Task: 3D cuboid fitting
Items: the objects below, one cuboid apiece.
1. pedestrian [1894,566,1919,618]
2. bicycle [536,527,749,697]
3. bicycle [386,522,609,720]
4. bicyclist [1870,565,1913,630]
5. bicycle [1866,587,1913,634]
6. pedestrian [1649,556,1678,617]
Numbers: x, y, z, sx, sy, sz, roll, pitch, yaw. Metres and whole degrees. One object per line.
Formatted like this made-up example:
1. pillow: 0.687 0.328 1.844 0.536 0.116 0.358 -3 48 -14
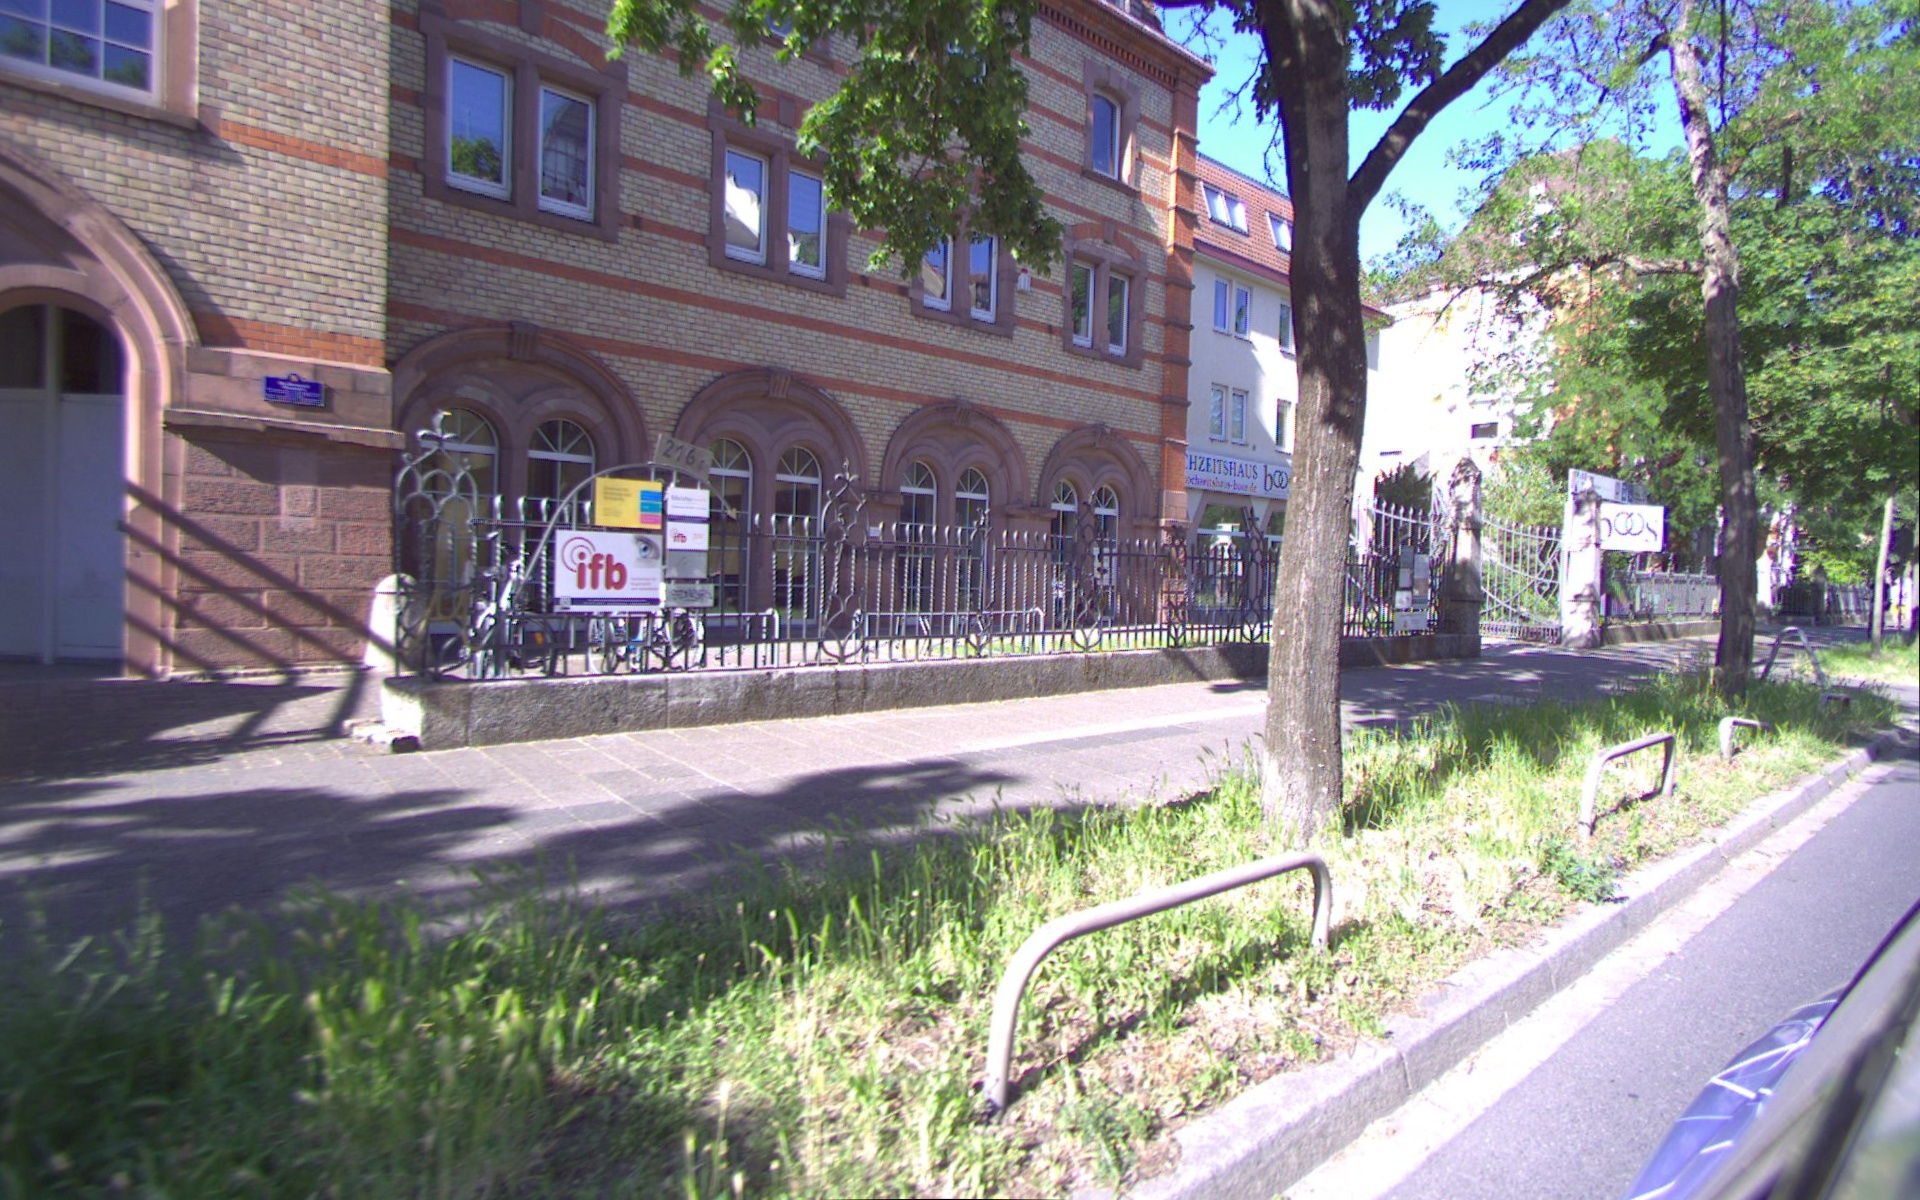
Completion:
1. pedestrian: 34.342 -0.276 36.505 0.796 1.808 0.749 0 5 -40
2. bicycle: -2.603 0.042 8.123 2.196 1.193 0.676 2 3 44
3. bicycle: -3.299 0.085 7.096 2.196 1.193 0.676 2 3 44
4. bicyclist: 25.596 -0.082 27.811 0.873 1.715 0.647 1 4 -41
5. bicycle: 25.572 0.274 27.835 1.811 1.190 0.654 0 5 -41
6. pedestrian: 21.223 -0.406 30.548 0.527 1.800 0.539 3 2 23
